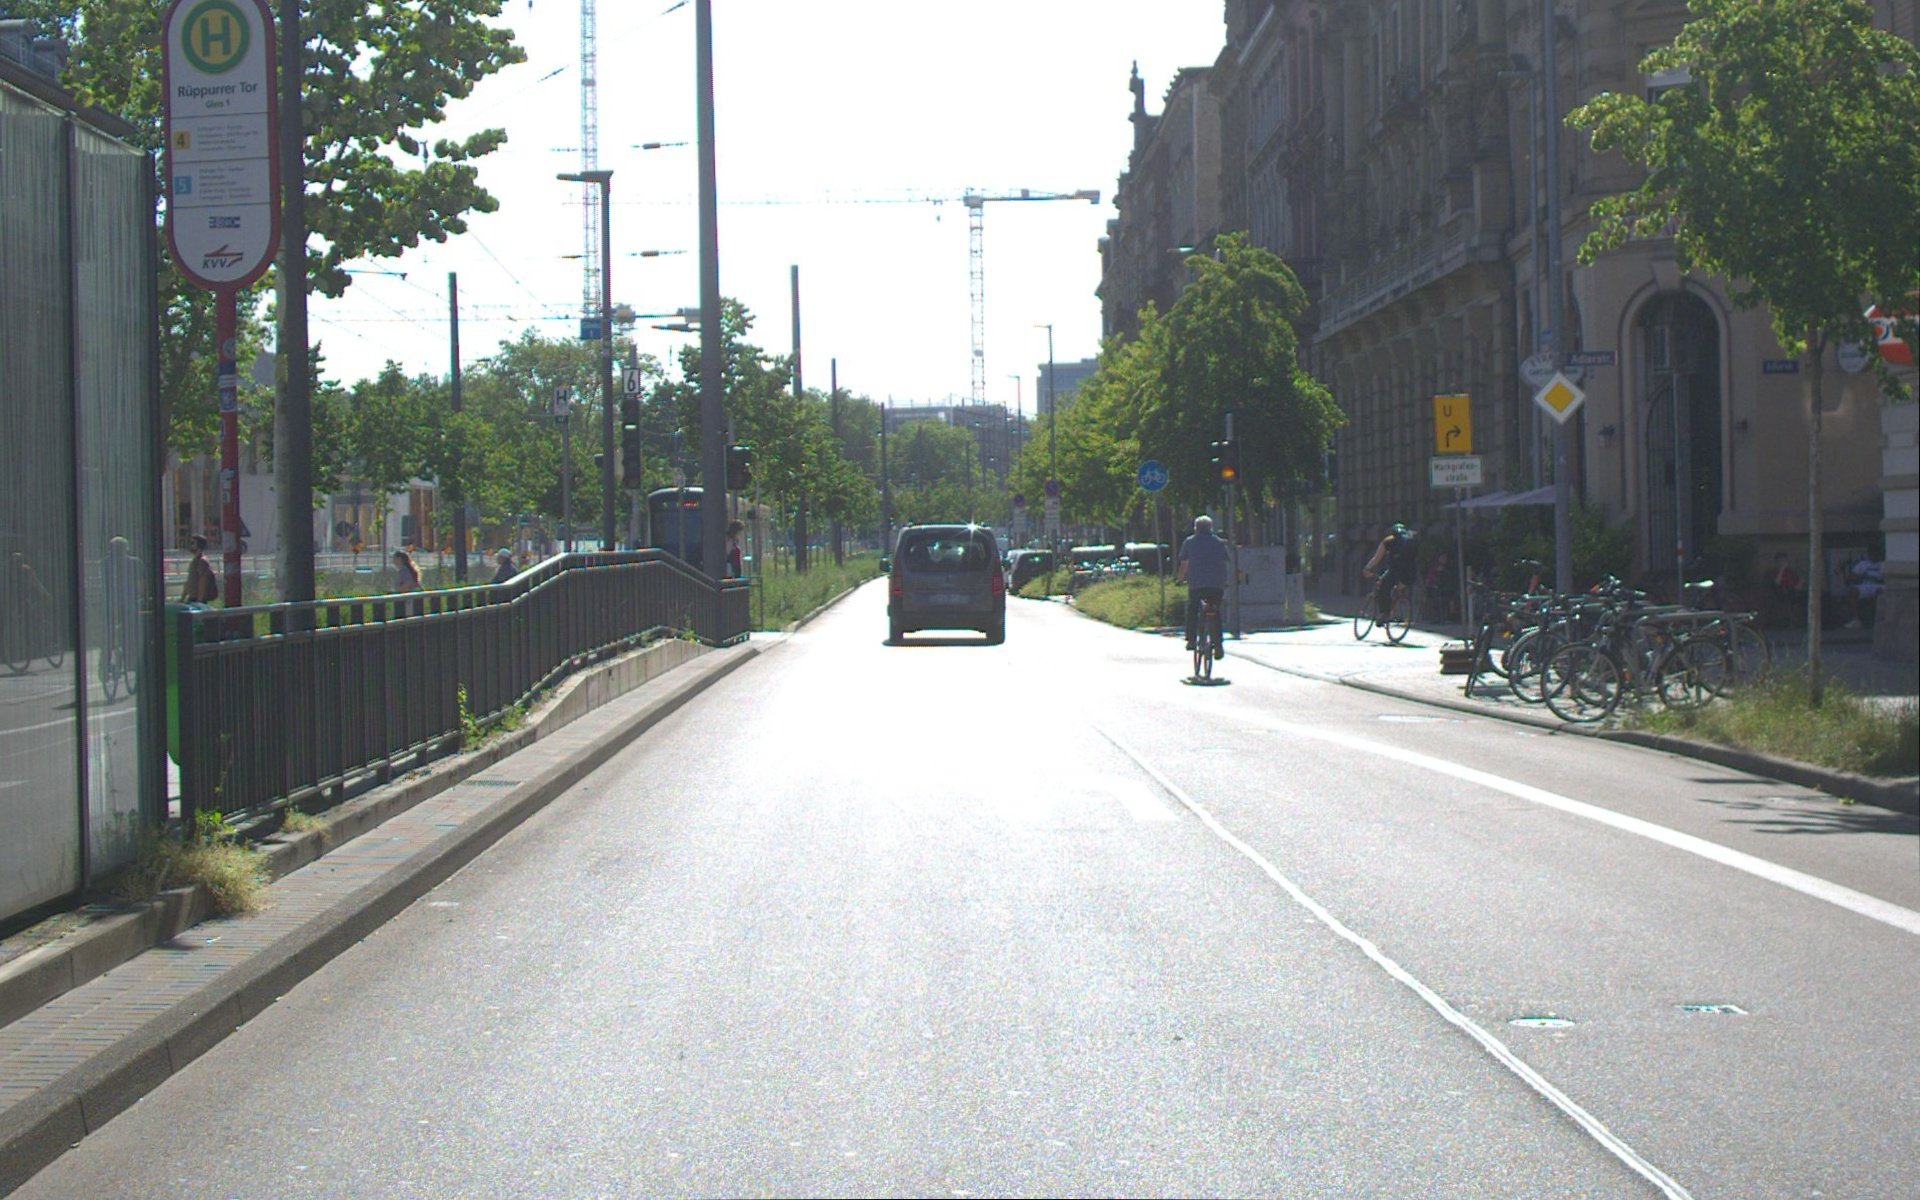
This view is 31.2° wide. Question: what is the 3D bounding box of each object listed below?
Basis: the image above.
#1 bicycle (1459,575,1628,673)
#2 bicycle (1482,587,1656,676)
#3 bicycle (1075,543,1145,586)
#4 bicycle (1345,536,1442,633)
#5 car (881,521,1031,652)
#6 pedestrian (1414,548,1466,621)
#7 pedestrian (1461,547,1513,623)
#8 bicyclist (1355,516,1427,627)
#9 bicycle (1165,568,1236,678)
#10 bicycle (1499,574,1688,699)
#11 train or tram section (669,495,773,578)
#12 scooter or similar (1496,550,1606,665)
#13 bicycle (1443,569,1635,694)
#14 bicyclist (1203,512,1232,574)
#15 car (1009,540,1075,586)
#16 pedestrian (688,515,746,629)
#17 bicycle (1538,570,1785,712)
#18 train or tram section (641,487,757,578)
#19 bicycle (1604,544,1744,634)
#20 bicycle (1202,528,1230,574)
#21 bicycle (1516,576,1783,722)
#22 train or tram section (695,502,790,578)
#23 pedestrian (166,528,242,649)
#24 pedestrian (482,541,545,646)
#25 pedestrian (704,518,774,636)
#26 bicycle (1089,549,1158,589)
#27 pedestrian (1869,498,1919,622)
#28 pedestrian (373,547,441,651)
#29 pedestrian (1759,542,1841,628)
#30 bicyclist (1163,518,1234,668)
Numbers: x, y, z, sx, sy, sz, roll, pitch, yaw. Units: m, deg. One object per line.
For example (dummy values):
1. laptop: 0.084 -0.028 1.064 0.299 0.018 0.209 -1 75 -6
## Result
1. bicycle: 6.040 0.247 35.657 1.670 0.940 0.607 -2 1 7
2. bicycle: 6.190 0.319 34.994 1.670 0.818 0.607 -2 1 6
3. bicycle: 4.091 -0.969 93.860 1.792 1.027 0.527 -5 1 -1
4. bicycle: 6.214 -0.217 49.350 0.615 1.326 1.900 -5 1 -14
5. car: -0.101 -0.239 53.869 2.200 1.919 4.654 -1 1 -1
6. pedestrian: 7.944 -0.258 56.938 0.706 1.174 0.635 -3 1 -1
7. pedestrian: 8.735 -0.253 57.003 0.706 1.232 0.635 -3 1 -1
8. bicyclist: 6.184 -0.412 49.357 0.660 1.525 0.801 -5 1 -14
9. bicycle: 2.695 0.242 38.613 0.601 1.177 1.869 1 1 -1
10. bicycle: 5.881 0.337 31.957 1.600 1.042 0.607 -3 1 3
11. train or tram section: -8.184 -2.136 118.715 2.756 2.733 9.863 0 0 1
12. scooter or similar: 6.365 0.079 37.067 1.111 1.185 0.419 -2 1 7
13. bicycle: 5.634 0.298 33.511 1.723 1.097 0.607 -3 1 3
14. bicyclist: 6.864 -1.525 91.740 0.666 1.633 0.960 -1 1 -1
15. car: 2.782 -1.287 117.457 2.028 1.493 4.654 -1 1 -1
16. pedestrian: -3.841 -0.454 54.291 0.865 1.782 0.971 0 1 -7
17. bicycle: 6.239 0.361 30.649 1.995 1.124 0.710 -4 1 1
18. train or tram section: -8.186 -2.078 108.867 2.756 2.733 9.863 0 0 1
19. bicycle: 9.942 -0.153 47.899 1.817 1.167 0.654 -1 4 3
20. bicycle: 6.846 -1.321 91.957 0.583 1.218 1.900 -1 1 -1
21. bicycle: 5.863 0.404 29.274 1.994 1.089 0.847 -4 1 -10
22. train or tram section: -8.058 -2.193 128.582 2.756 2.733 9.863 0 0 1
23. pedestrian: -11.149 -0.174 50.741 0.865 1.774 0.909 0 1 4
24. pedestrian: -6.524 -0.101 50.285 0.812 1.531 0.798 0 1 1
25. pedestrian: -3.639 -0.383 56.588 1.075 1.902 0.653 -1 1 -7
26. bicycle: 4.403 -0.826 92.519 1.792 1.027 0.527 -1 1 -1
27. pedestrian: 13.610 -0.580 49.184 0.906 1.754 0.868 0 1 -8
28. pedestrian: -8.235 -0.026 51.212 0.865 1.531 0.909 0 1 -1
29. pedestrian: 11.961 -0.218 48.956 0.849 1.210 0.934 0 1 -8
30. bicyclist: 2.694 -0.090 38.915 0.684 1.667 0.922 1 1 -1
